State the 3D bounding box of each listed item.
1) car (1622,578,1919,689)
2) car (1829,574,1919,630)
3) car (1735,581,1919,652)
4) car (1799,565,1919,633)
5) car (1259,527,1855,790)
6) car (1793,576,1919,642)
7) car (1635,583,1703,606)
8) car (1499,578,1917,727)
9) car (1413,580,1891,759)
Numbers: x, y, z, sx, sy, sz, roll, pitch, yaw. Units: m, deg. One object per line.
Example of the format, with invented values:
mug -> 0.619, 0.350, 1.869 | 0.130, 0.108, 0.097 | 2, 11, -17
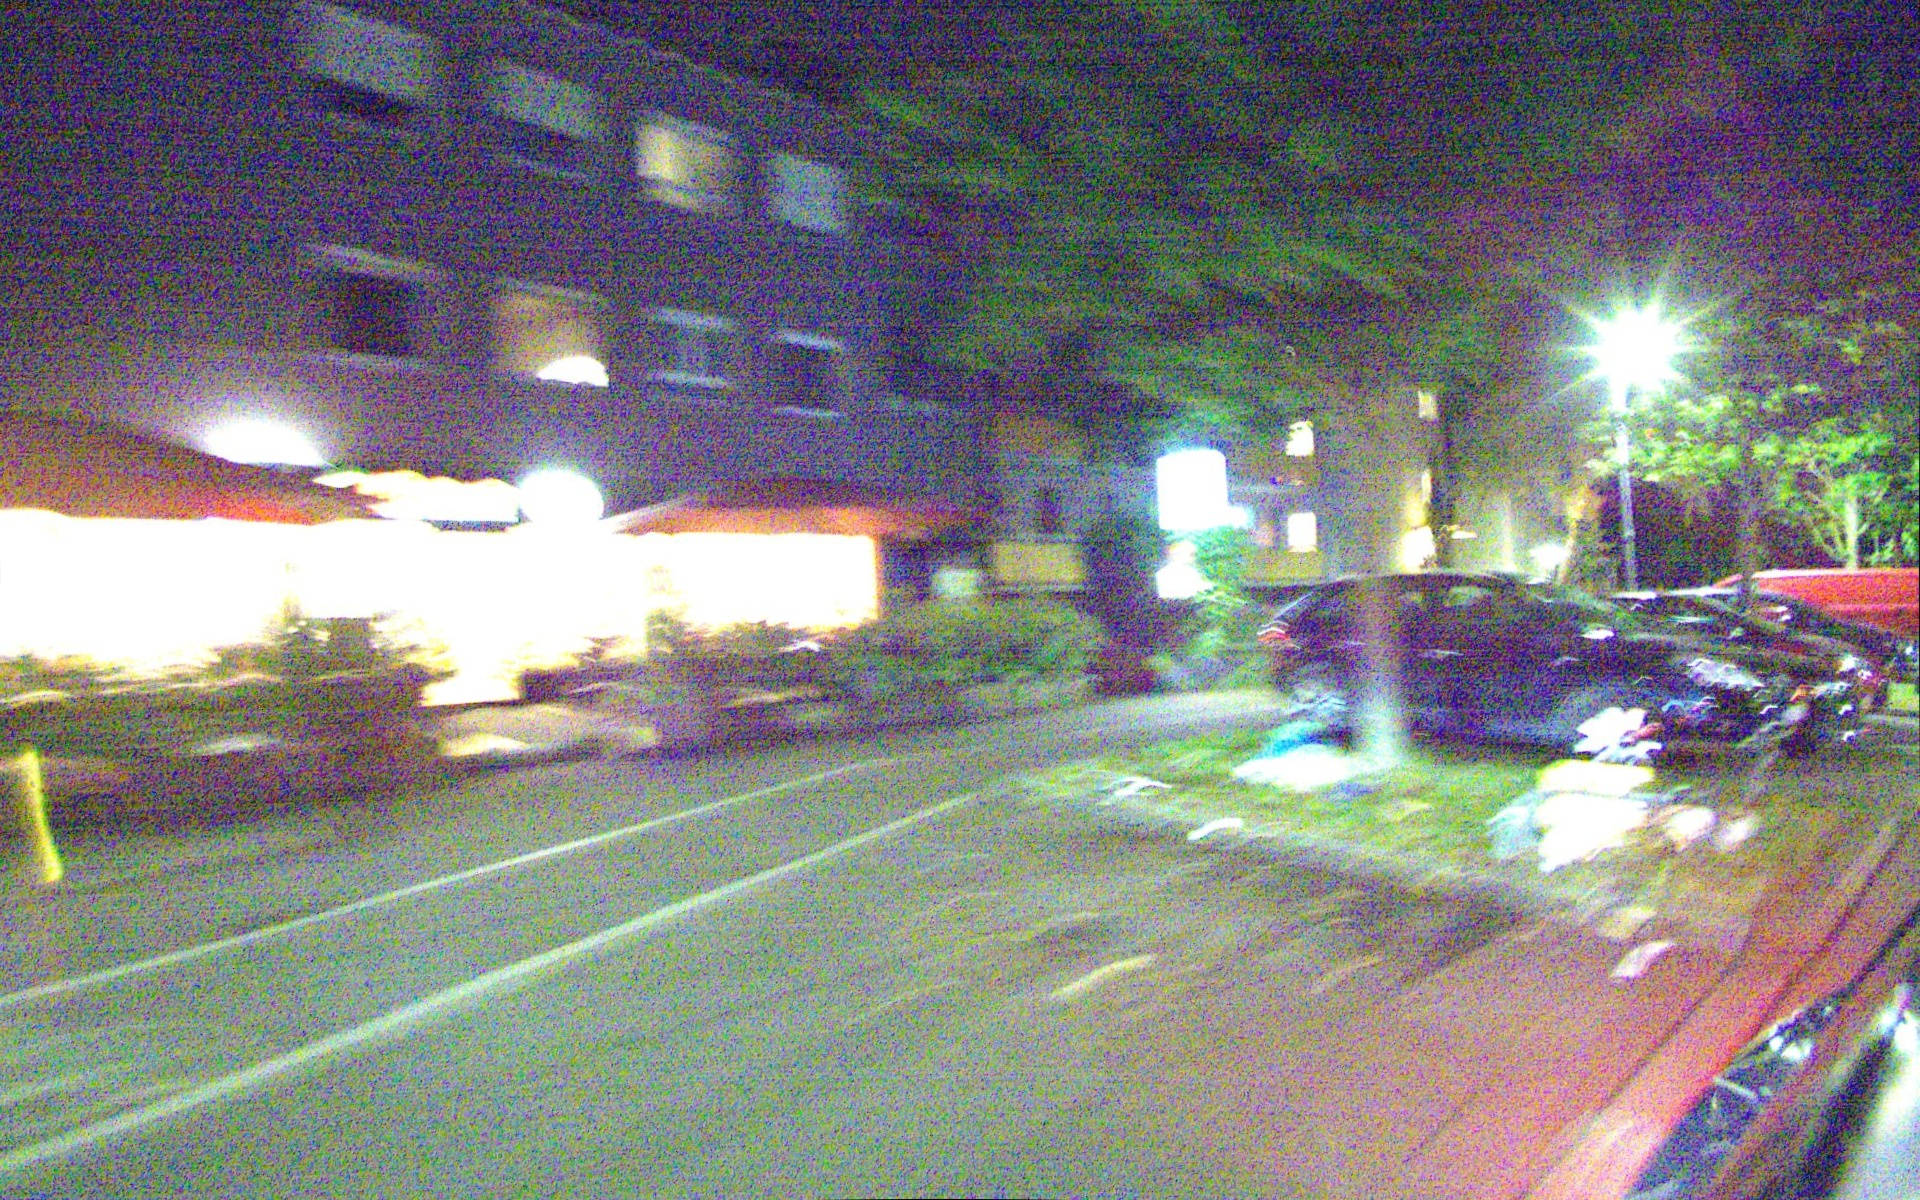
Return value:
car -> 13.249, 0.465, 16.293 | 1.950, 1.571, 3.927 | 0, 0, -37
car -> 33.131, 0.067, 34.424 | 2.221, 1.868, 5.150 | 0, 0, -41
car -> 21.367, 0.374, 23.766 | 2.068, 1.577, 4.665 | 0, -1, -38
car -> 30.743, -0.045, 32.839 | 2.221, 2.123, 5.150 | 0, 0, -41
car -> 5.219, 0.400, 9.447 | 1.993, 1.839, 4.368 | 0, 0, -35
car -> 25.498, 0.240, 27.296 | 1.961, 1.719, 4.291 | 0, -1, -33
car -> 46.056, -0.390, 65.810 | 3.527, 1.387, 1.738 | 2, 2, 35
car -> 9.162, 0.532, 12.637 | 1.823, 1.533, 3.921 | -2, 1, -42
car -> 7.160, 0.590, 10.744 | 1.824, 1.533, 3.919 | 0, 0, -44
